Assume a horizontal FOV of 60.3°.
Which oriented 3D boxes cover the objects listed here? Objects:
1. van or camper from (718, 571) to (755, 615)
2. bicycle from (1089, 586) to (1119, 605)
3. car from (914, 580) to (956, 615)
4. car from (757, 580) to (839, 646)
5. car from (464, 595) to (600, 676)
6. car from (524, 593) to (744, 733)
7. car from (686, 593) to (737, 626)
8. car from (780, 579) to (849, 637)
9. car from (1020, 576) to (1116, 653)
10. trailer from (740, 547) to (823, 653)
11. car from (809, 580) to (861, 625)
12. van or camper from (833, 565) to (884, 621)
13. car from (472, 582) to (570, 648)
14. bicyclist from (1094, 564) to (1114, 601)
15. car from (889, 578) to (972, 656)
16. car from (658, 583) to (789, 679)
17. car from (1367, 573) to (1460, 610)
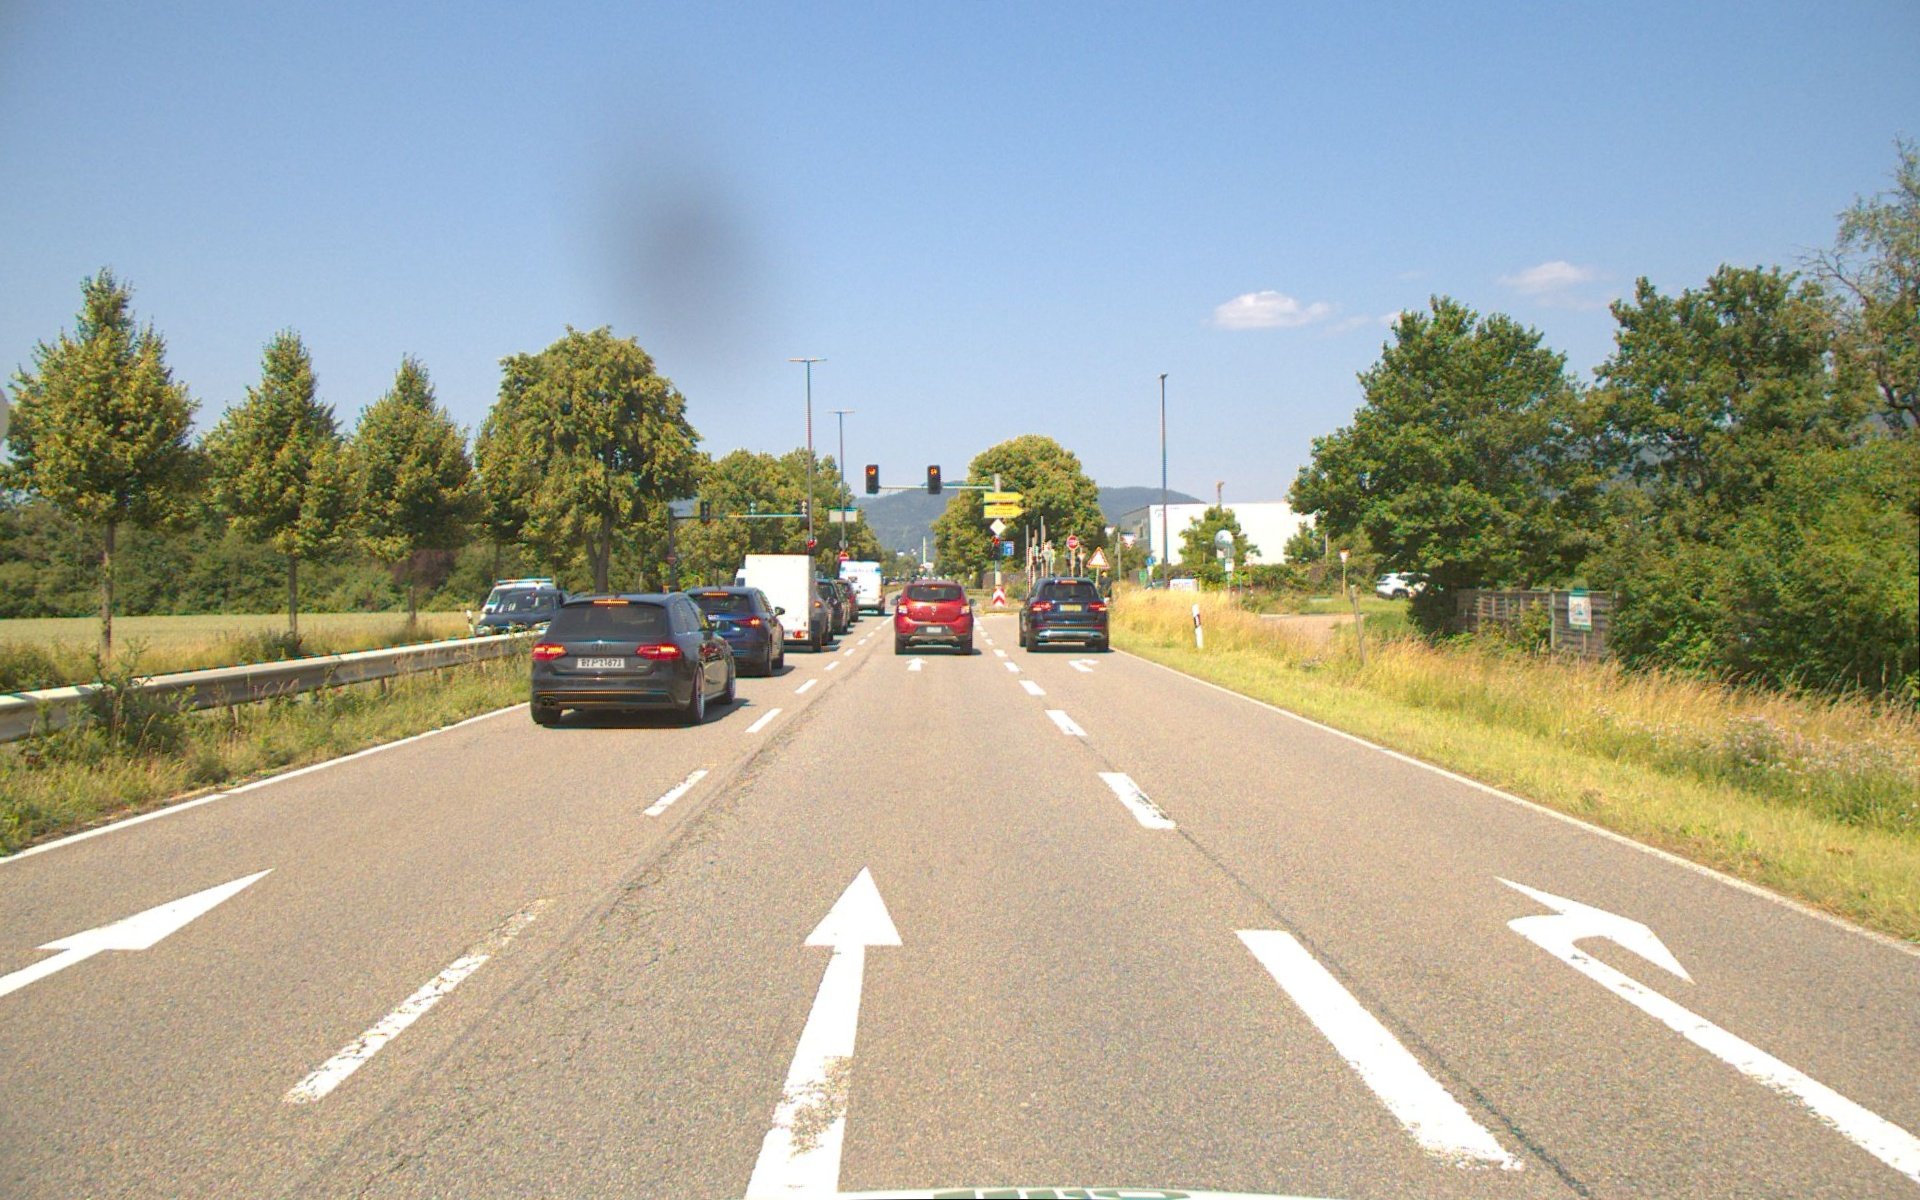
[{"bbox_3d":[-16.855,-0.532,125.136,2.217,3.153,5.693,-1,0,-2],"label":"van or camper"},{"bbox_3d":[7.197,-0.249,82.813,0.748,0.931,2.772,-1,1,-11],"label":"bicycle"},{"bbox_3d":[-1.081,-0.121,72.862,1.713,1.483,3.677,0,1,1],"label":"car"},{"bbox_3d":[-3.993,0.284,41.318,1.710,1.529,4.362,-1,1,-1],"label":"car"},{"bbox_3d":[-9.456,0.735,36.936,1.953,1.631,4.479,-1,1,-2],"label":"car"},{"bbox_3d":[-3.598,0.625,18.998,1.705,1.404,4.454,0,0,-1],"label":"car"},{"bbox_3d":[-11.855,0.425,79.222,1.841,1.480,4.503,-1,1,-2],"label":"car"},{"bbox_3d":[-4.199,0.203,48.125,1.688,1.603,3.892,0,1,0],"label":"car"},{"bbox_3d":[2.398,0.294,37.772,1.952,1.645,4.340,0,1,0],"label":"car"},{"bbox_3d":[-3.952,-0.022,37.179,1.470,2.211,4.173,-1,1,-1],"label":"trailer"},{"bbox_3d":[-4.700,0.073,62.378,1.689,1.628,3.955,0,1,-1],"label":"car"},{"bbox_3d":[-4.451,-0.331,72.708,2.136,2.343,4.823,-1,0,-3],"label":"van or camper"},{"bbox_3d":[-14.097,0.445,53.352,1.953,1.985,4.829,-1,1,-2],"label":"car"},{"bbox_3d":[7.209,-0.877,82.679,0.788,1.802,0.806,-1,0,-11],"label":"bicyclist"},{"bbox_3d":[-0.610,0.331,36.476,1.713,1.603,3.677,1,1,0],"label":"car"},{"bbox_3d":[-3.884,0.464,27.742,1.682,1.490,4.029,0,1,-1],"label":"car"},{"bbox_3d":[24.169,-0.461,88.228,4.397,1.900,1.885,-1,0,1],"label":"car"}]
